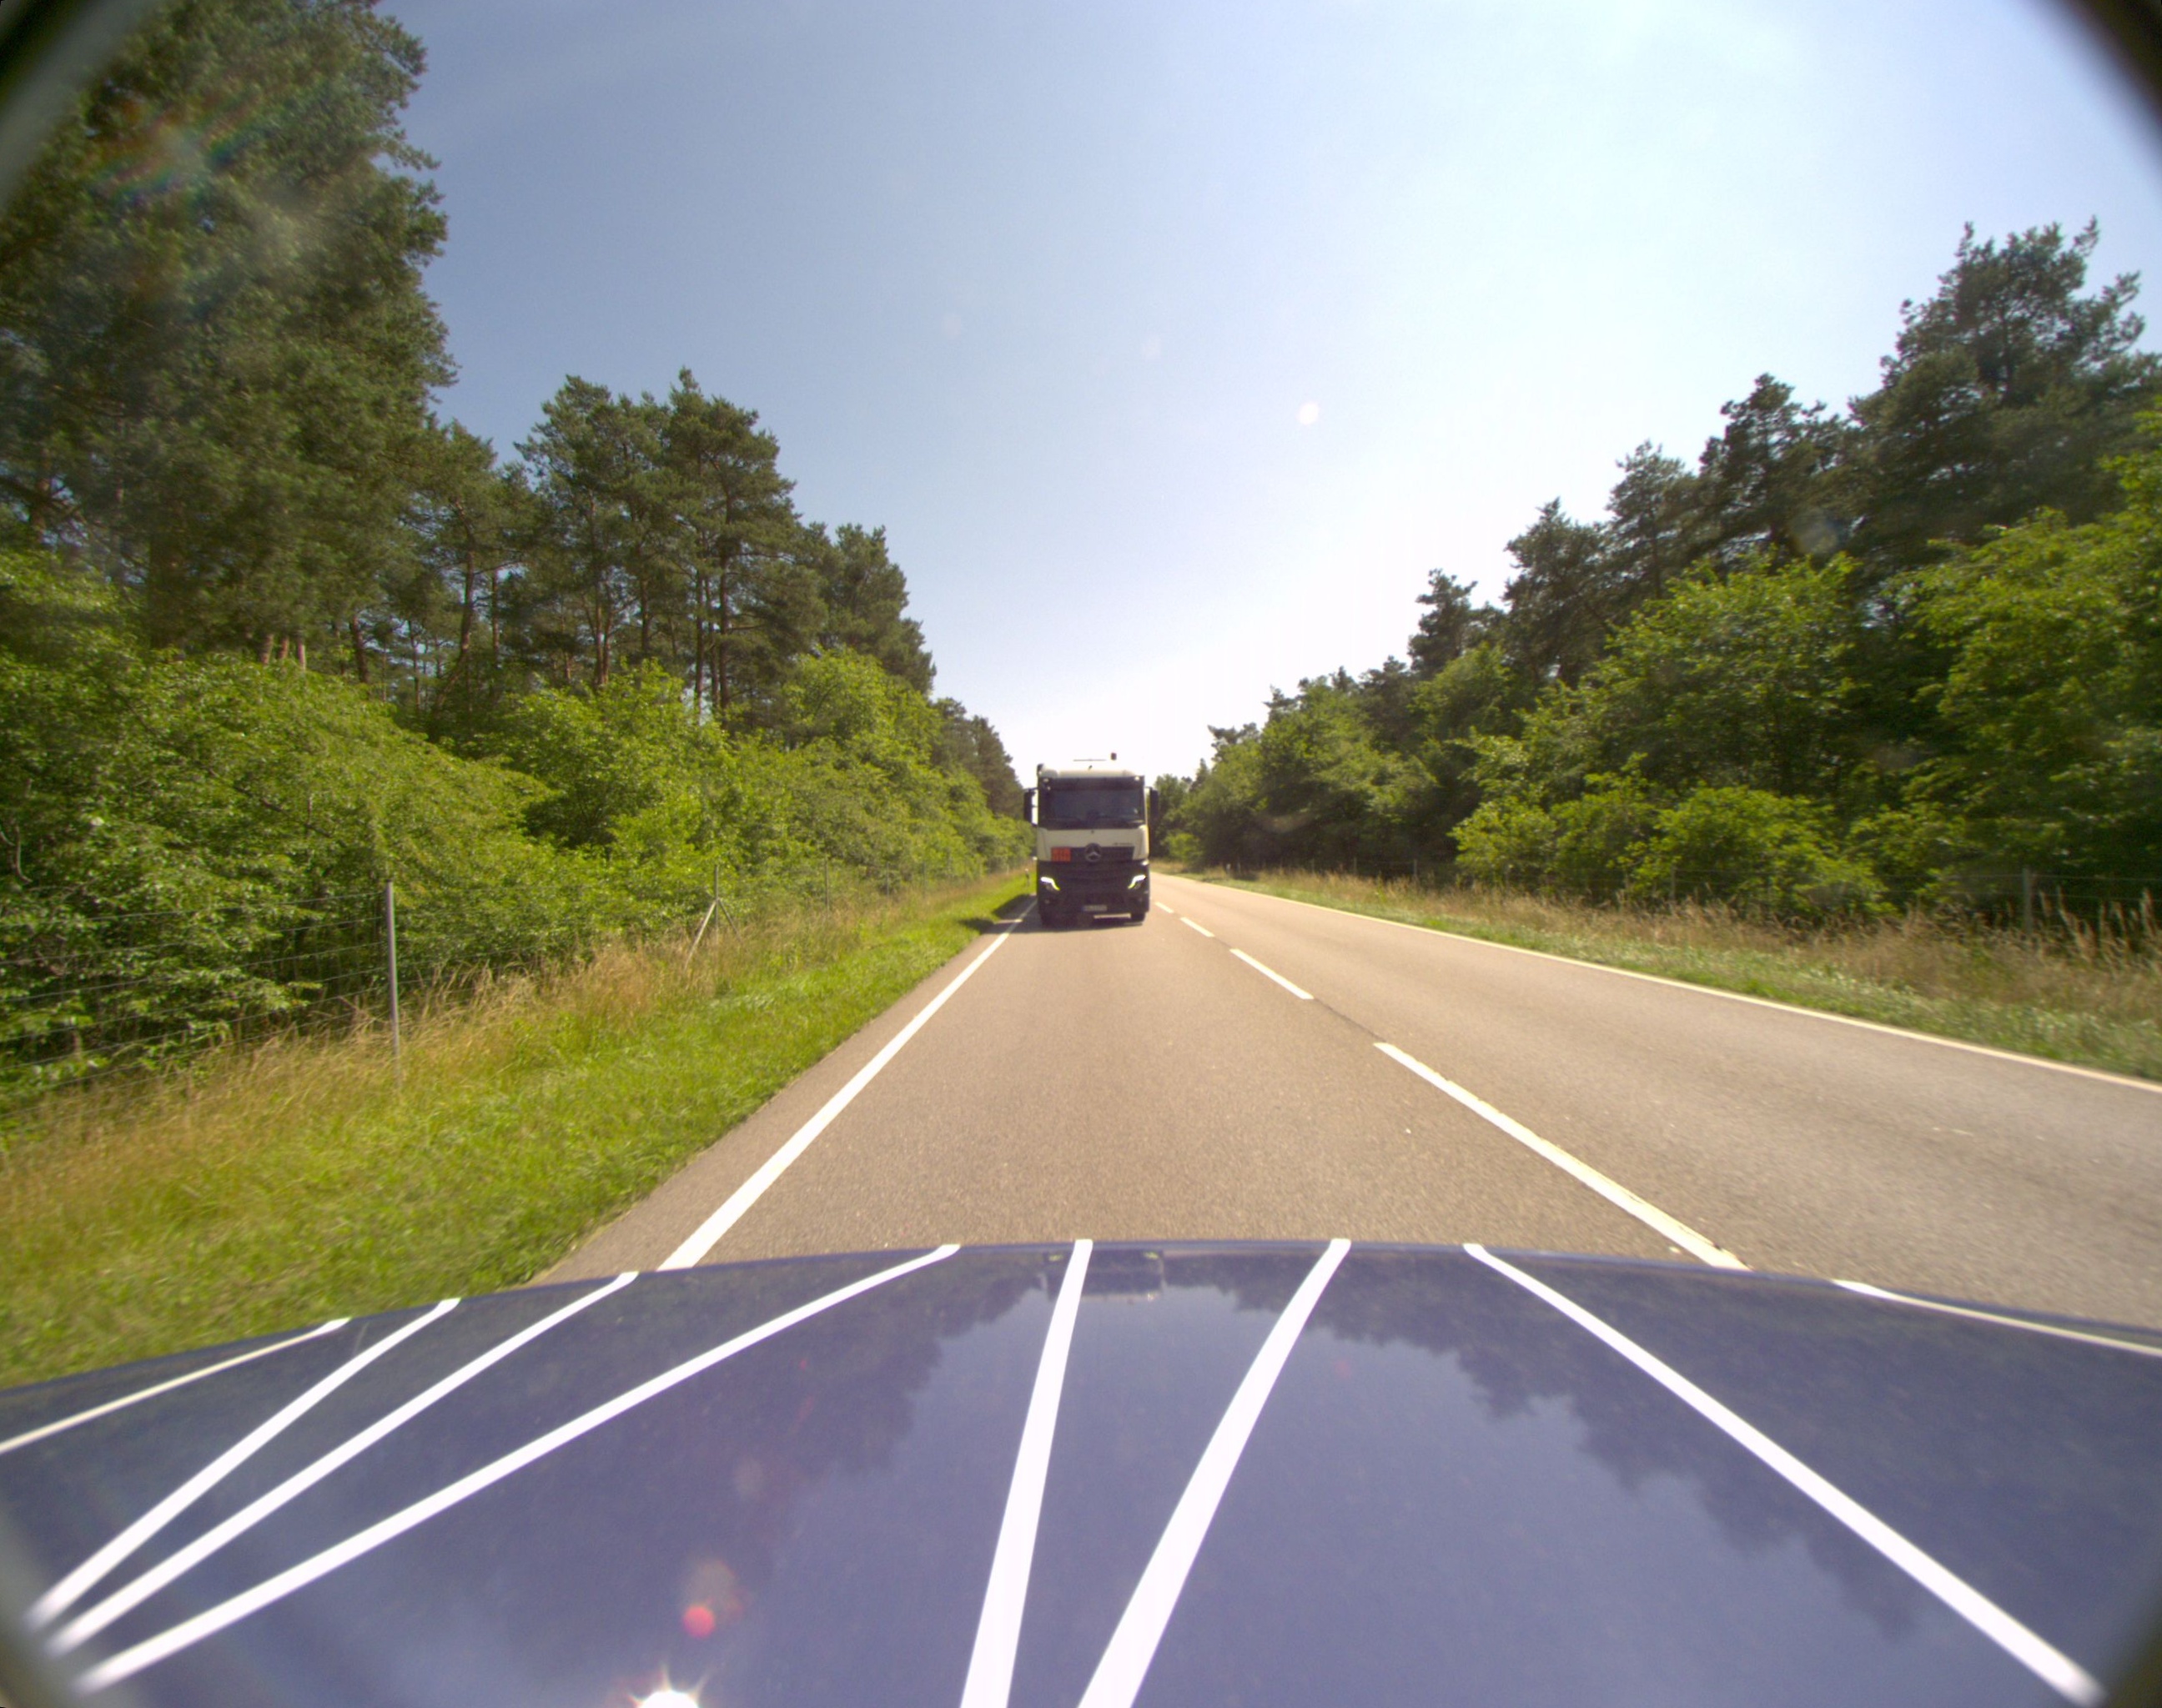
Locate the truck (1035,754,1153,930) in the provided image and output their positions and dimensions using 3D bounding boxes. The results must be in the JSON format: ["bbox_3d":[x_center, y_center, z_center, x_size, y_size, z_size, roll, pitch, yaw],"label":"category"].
[{"bbox_3d":[0.274,-0.241,19.219,2.435,3.672,6.456,-1,0,0],"label":"truck"}]

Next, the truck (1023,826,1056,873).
[{"bbox_3d":[-3.383,-0.320,63.059,2.494,3.619,6.102,-2,0,-2],"label":"truck"}]

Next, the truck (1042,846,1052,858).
[{"bbox_3d":[-10.462,-0.535,235.603,2.495,3.619,6.099,-2,0,-7],"label":"truck"}]
